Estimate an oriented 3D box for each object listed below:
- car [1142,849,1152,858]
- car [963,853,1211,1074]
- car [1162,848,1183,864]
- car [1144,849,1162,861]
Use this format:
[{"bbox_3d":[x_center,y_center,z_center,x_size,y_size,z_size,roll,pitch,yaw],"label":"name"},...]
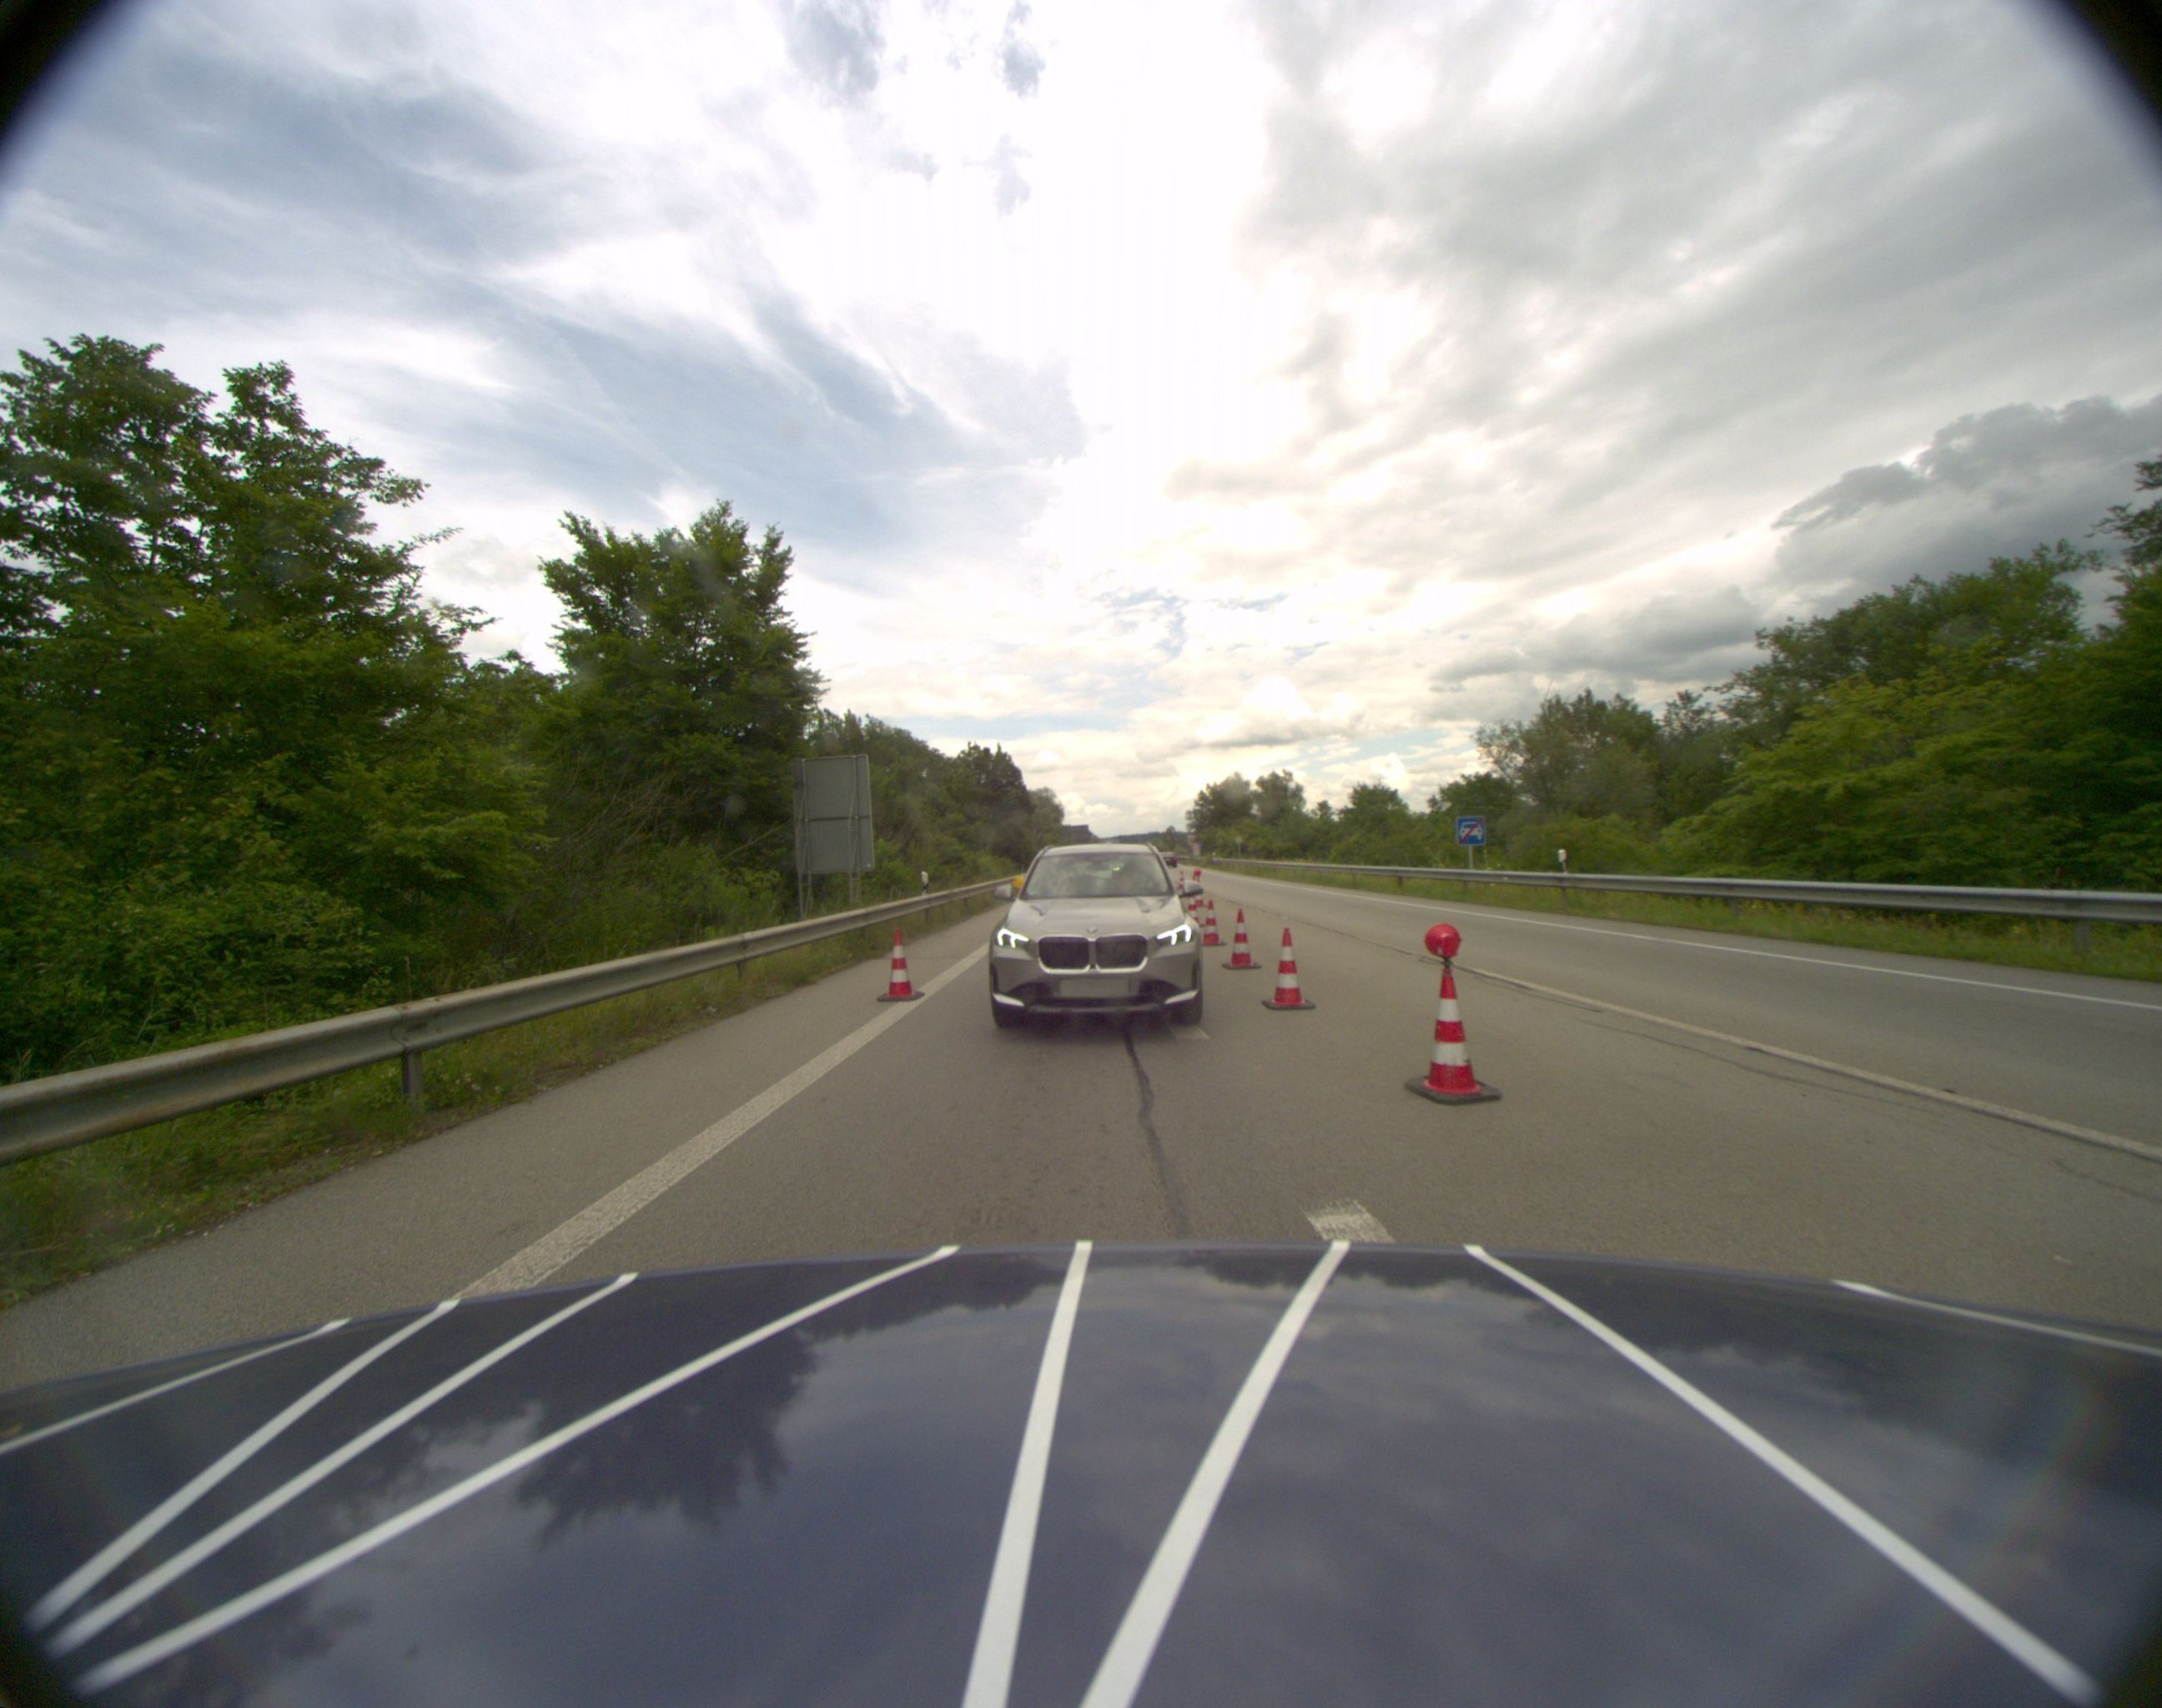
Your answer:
[{"bbox_3d":[16.138,-0.144,185.451,2.034,1.976,5.316,-2,0,3],"label":"car"},{"bbox_3d":[0.168,0.833,7.934,1.817,1.598,4.434,-2,0,3],"label":"car"},{"bbox_3d":[8.560,0.170,71.576,1.712,1.428,4.337,-2,0,4],"label":"car"},{"bbox_3d":[9.034,0.104,95.831,1.683,1.393,4.373,-2,0,-1],"label":"car"}]
